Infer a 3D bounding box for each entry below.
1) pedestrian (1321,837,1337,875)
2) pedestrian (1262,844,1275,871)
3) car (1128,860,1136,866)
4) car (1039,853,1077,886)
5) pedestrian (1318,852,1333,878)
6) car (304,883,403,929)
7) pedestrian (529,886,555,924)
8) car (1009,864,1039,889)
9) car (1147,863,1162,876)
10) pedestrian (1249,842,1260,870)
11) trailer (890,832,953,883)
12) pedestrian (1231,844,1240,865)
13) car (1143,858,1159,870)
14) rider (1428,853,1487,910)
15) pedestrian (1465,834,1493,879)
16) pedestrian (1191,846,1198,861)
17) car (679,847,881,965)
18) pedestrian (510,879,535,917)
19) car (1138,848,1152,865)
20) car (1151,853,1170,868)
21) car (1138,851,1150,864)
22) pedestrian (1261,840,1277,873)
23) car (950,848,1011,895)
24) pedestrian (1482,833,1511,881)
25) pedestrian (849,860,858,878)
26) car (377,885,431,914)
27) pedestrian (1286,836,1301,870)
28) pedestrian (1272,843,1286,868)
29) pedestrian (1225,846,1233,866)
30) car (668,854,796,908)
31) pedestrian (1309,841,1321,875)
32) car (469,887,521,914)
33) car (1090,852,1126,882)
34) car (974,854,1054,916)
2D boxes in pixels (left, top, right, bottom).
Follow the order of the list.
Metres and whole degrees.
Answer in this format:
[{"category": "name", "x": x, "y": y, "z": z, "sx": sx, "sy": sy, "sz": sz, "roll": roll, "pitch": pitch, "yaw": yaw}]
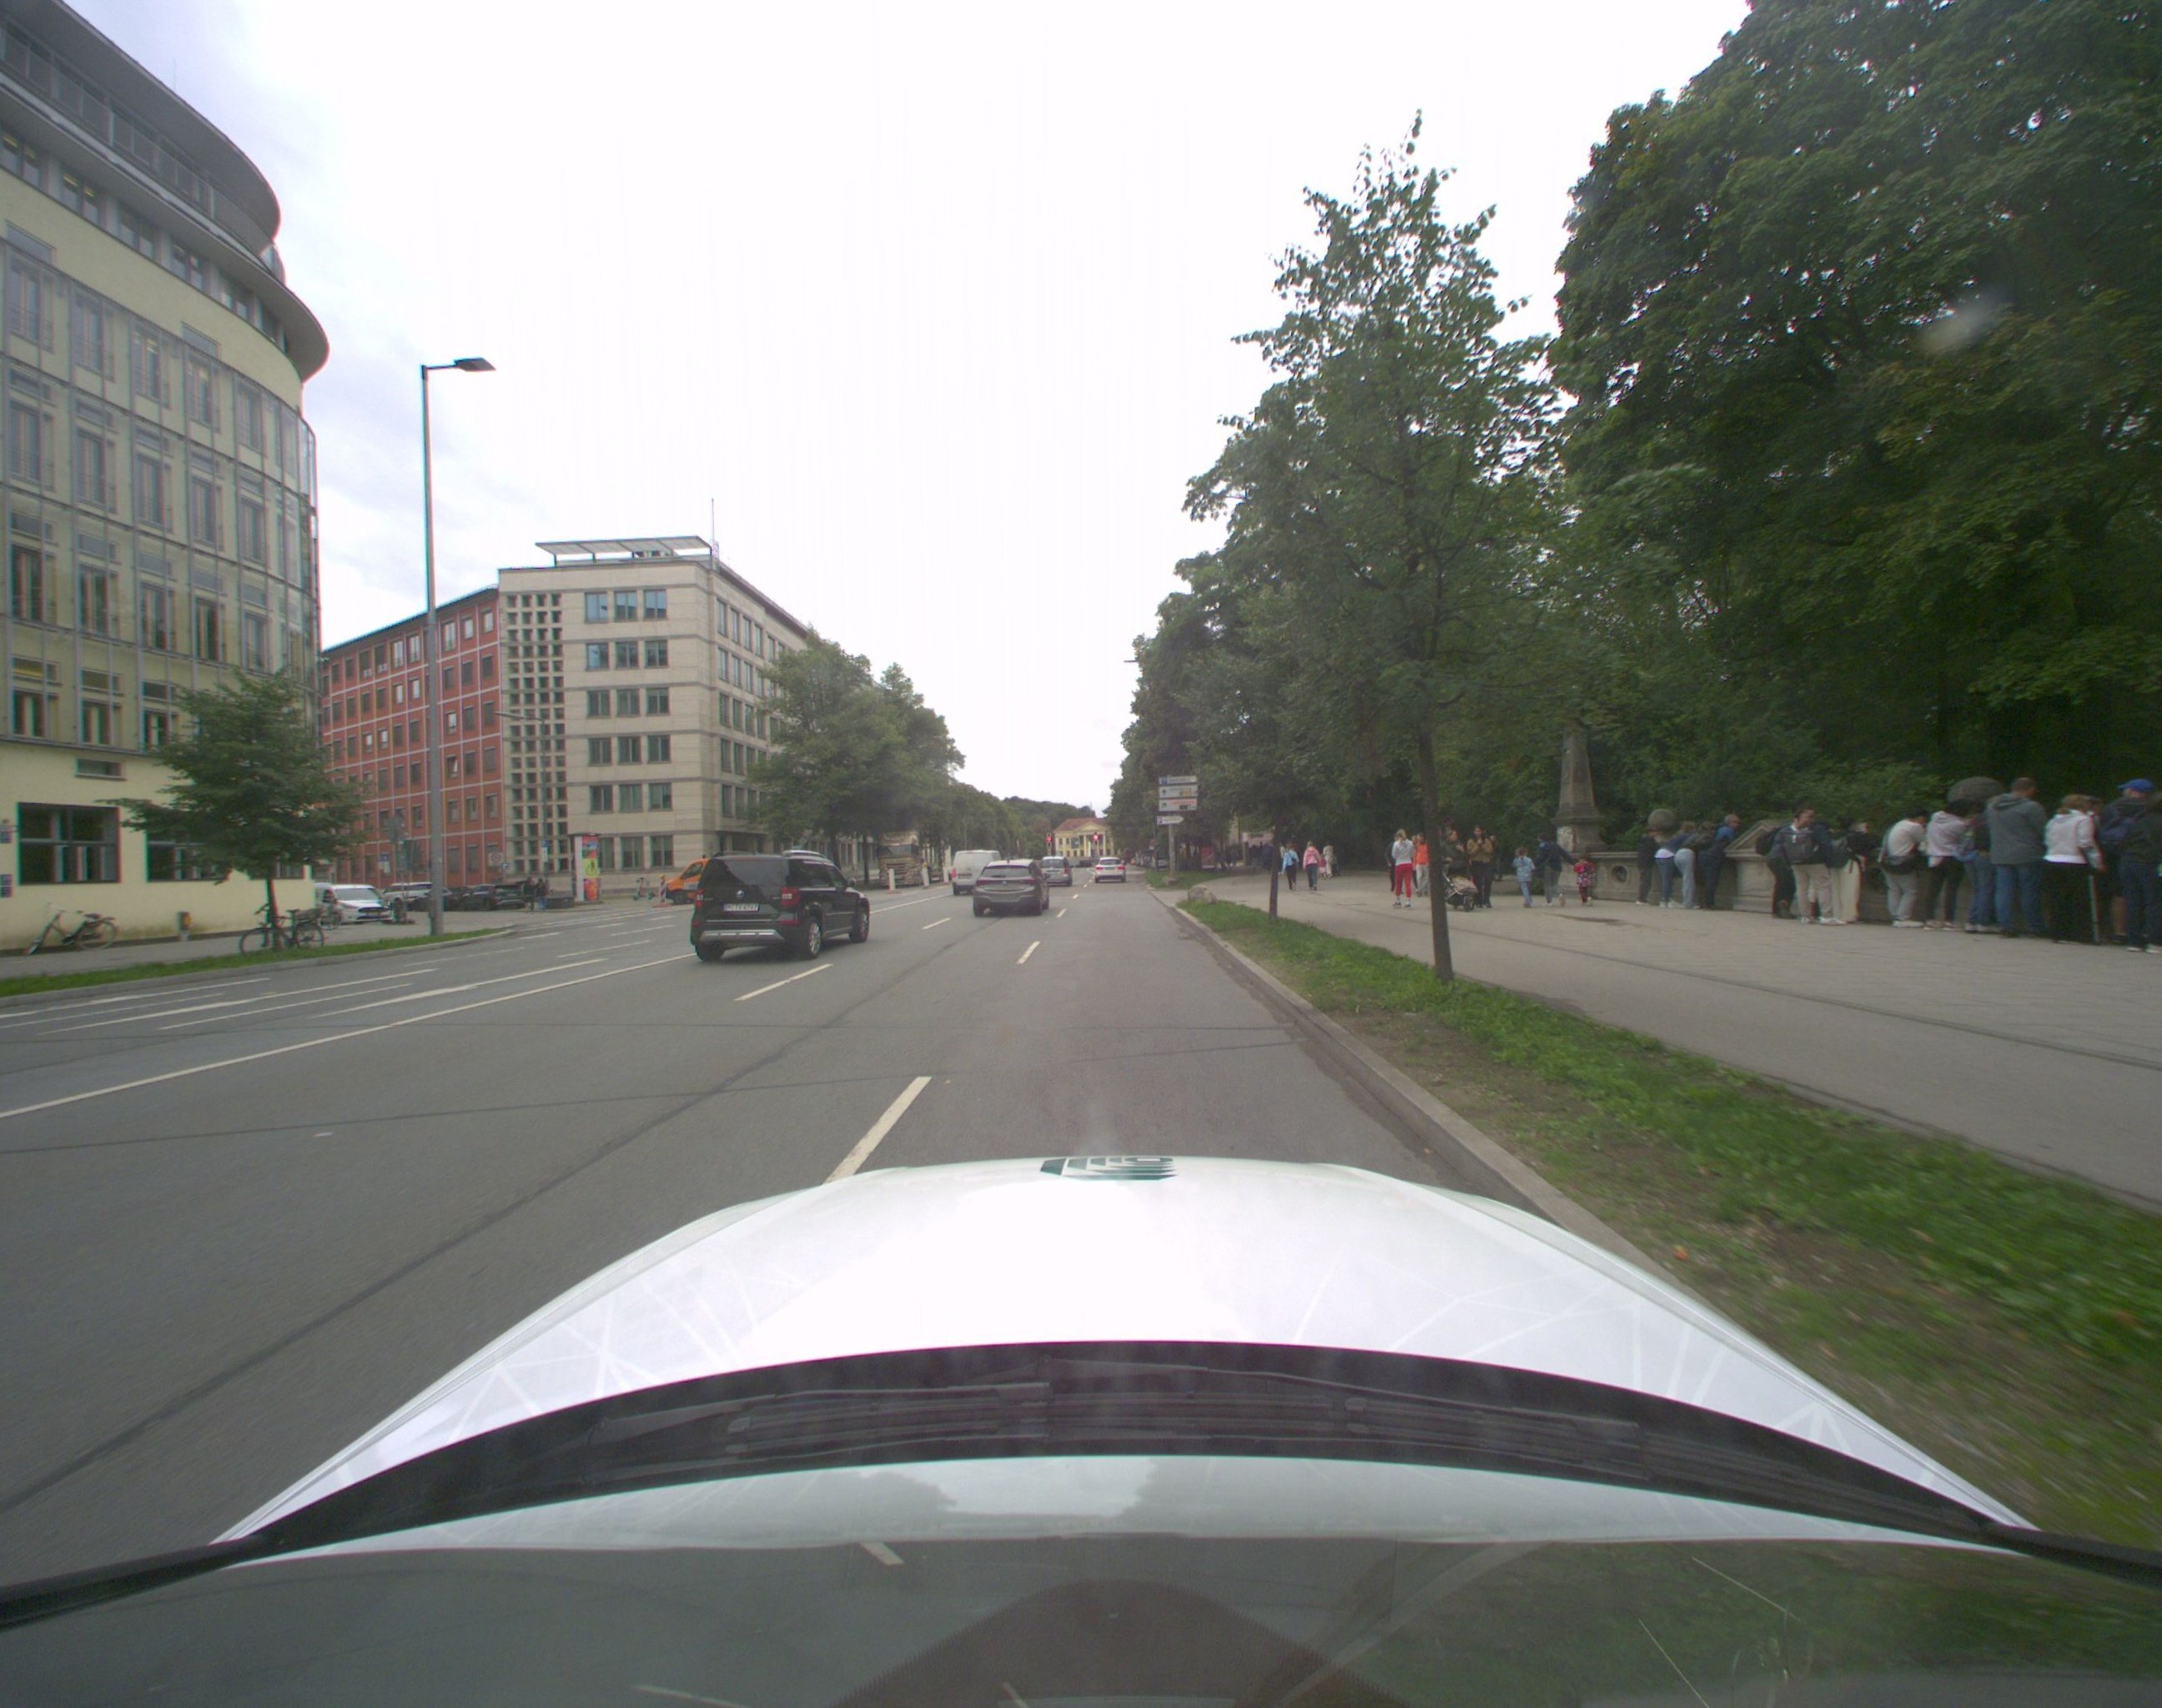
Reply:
[{"category": "pedestrian", "x": 11.223, "y": 0.089, "z": 36.842, "sx": 0.626, "sy": 1.667, "sz": 0.575, "roll": -1, "pitch": -1, "yaw": 17}, {"category": "pedestrian", "x": 12.339, "y": 0.240, "z": 53.684, "sx": 0.748, "sy": 1.737, "sz": 0.853, "roll": -1, "pitch": -1, "yaw": 17}, {"category": "car", "x": 11.095, "y": 1.960, "z": 176.479, "sx": 1.717, "sy": 1.324, "sz": 4.030, "roll": -2, "pitch": -1, "yaw": 3}, {"category": "car", "x": -1.168, "y": 0.818, "z": 43.502, "sx": 1.773, "sy": 1.654, "sz": 4.001, "roll": -1, "pitch": -1, "yaw": 1}, {"category": "pedestrian", "x": 10.534, "y": 0.471, "z": 35.092, "sx": 0.626, "sy": 1.137, "sz": 0.575, "roll": -1, "pitch": -1, "yaw": 17}, {"category": "car", "x": -30.903, "y": 2.197, "z": 34.575, "sx": 4.273, "sy": 1.750, "sz": 1.882, "roll": -2, "pitch": -1, "yaw": 30}, {"category": "pedestrian", "x": -26.069, "y": 2.461, "z": 39.377, "sx": 0.679, "sy": 1.775, "sz": 0.785, "roll": -1, "pitch": -1, "yaw": 6}, {"category": "car", "x": -3.881, "y": 1.521, "z": 55.989, "sx": 1.774, "sy": 1.654, "sz": 3.998, "roll": 0, "pitch": -1, "yaw": -1}, {"category": "car", "x": 9.310, "y": 1.957, "z": 103.318, "sx": 1.717, "sy": 1.465, "sz": 4.779, "roll": -2, "pitch": -1, "yaw": 3}, {"category": "pedestrian", "x": 11.210, "y": 0.116, "z": 52.555, "sx": 0.604, "sy": 1.763, "sz": 0.798, "roll": -1, "pitch": -1, "yaw": 6}, {"category": "trailer", "x": -12.582, "y": 0.325, "z": 65.271, "sx": 2.941, "sy": 3.740, "sz": 11.763, "roll": 0, "pitch": -1, "yaw": -1}, {"category": "pedestrian", "x": 12.727, "y": 0.054, "z": 66.998, "sx": 0.627, "sy": 1.774, "sz": 0.783, "roll": -1, "pitch": -1, "yaw": 5}, {"category": "car", "x": 9.316, "y": 1.330, "z": 108.627, "sx": 1.815, "sy": 1.465, "sz": 4.030, "roll": -2, "pitch": -1, "yaw": 3}, {"category": "rider", "x": 7.716, "y": 0.549, "z": 16.742, "sx": 0.761, "sy": 1.112, "sz": 1.246, "roll": -1, "pitch": -1, "yaw": 7}, {"category": "pedestrian", "x": 14.165, "y": 0.092, "z": 28.976, "sx": 0.695, "sy": 1.578, "sz": 0.605, "roll": 0, "pitch": -1, "yaw": -33}, {"category": "pedestrian", "x": 14.546, "y": -0.015, "z": 104.117, "sx": 0.761, "sy": 1.910, "sz": 0.771, "roll": -1, "pitch": -1, "yaw": 2}, {"category": "car", "x": -4.857, "y": 0.782, "z": 13.840, "sx": 1.716, "sy": 1.636, "sz": 4.206, "roll": -2, "pitch": -1, "yaw": 1}, {"category": "pedestrian", "x": -26.806, "y": 2.114, "z": 39.102, "sx": 0.679, "sy": 1.775, "sz": 0.675, "roll": -1, "pitch": -1, "yaw": 6}, {"category": "car", "x": 10.143, "y": 0.470, "z": 129.516, "sx": 1.987, "sy": 2.643, "sz": 4.878, "roll": -1, "pitch": -1, "yaw": 1}, {"category": "car", "x": 8.937, "y": 0.769, "z": 91.478, "sx": 1.820, "sy": 1.550, "sz": 4.754, "roll": -2, "pitch": -1, "yaw": 3}, {"category": "car", "x": 9.452, "y": 0.530, "z": 122.279, "sx": 1.717, "sy": 1.867, "sz": 4.030, "roll": -2, "pitch": -1, "yaw": 3}, {"category": "pedestrian", "x": 10.270, "y": 0.141, "z": 44.436, "sx": 0.748, "sy": 1.737, "sz": 0.853, "roll": -1, "pitch": -1, "yaw": 17}, {"category": "car", "x": -4.366, "y": 0.751, "z": 35.968, "sx": 1.891, "sy": 1.847, "sz": 4.957, "roll": -2, "pitch": -1, "yaw": 1}, {"category": "pedestrian", "x": 14.476, "y": 0.098, "z": 28.365, "sx": 0.695, "sy": 1.651, "sz": 0.605, "roll": 0, "pitch": -1, "yaw": -31}, {"category": "pedestrian", "x": -21.812, "y": 1.398, "z": 78.177, "sx": 0.576, "sy": 1.732, "sz": 0.764, "roll": -1, "pitch": -1, "yaw": 2}, {"category": "car", "x": -41.804, "y": 2.821, "z": 50.261, "sx": 3.143, "sy": 1.664, "sz": 1.498, "roll": -2, "pitch": -1, "yaw": 29}, {"category": "pedestrian", "x": 11.609, "y": -0.042, "z": 44.499, "sx": 0.585, "sy": 1.822, "sz": 0.850, "roll": -1, "pitch": -1, "yaw": 3}, {"category": "pedestrian", "x": 13.121, "y": 0.084, "z": 53.943, "sx": 0.681, "sy": 1.637, "sz": 0.661, "roll": 0, "pitch": -1, "yaw": -10}, {"category": "pedestrian", "x": 12.663, "y": 0.186, "z": 69.737, "sx": 0.577, "sy": 1.675, "sz": 0.554, "roll": -1, "pitch": -1, "yaw": 5}, {"category": "car", "x": -18.176, "y": 1.396, "z": 42.661, "sx": 5.666, "sy": 2.536, "sz": 2.154, "roll": -2, "pitch": -1, "yaw": -3}, {"category": "pedestrian", "x": 10.690, "y": 0.181, "z": 37.193, "sx": 0.481, "sy": 1.566, "sz": 0.575, "roll": -1, "pitch": -1, "yaw": 17}, {"category": "car", "x": -32.849, "y": 2.601, "z": 45.600, "sx": 3.197, "sy": 1.375, "sz": 1.480, "roll": -3, "pitch": -1, "yaw": 37}, {"category": "car", "x": 1.552, "y": 0.733, "z": 47.665, "sx": 1.775, "sy": 1.644, "sz": 3.995, "roll": 0, "pitch": -1, "yaw": -3}, {"category": "car", "x": -1.773, "y": 0.797, "z": 22.611, "sx": 1.703, "sy": 1.552, "sz": 4.002, "roll": -1, "pitch": -1, "yaw": 3}]
